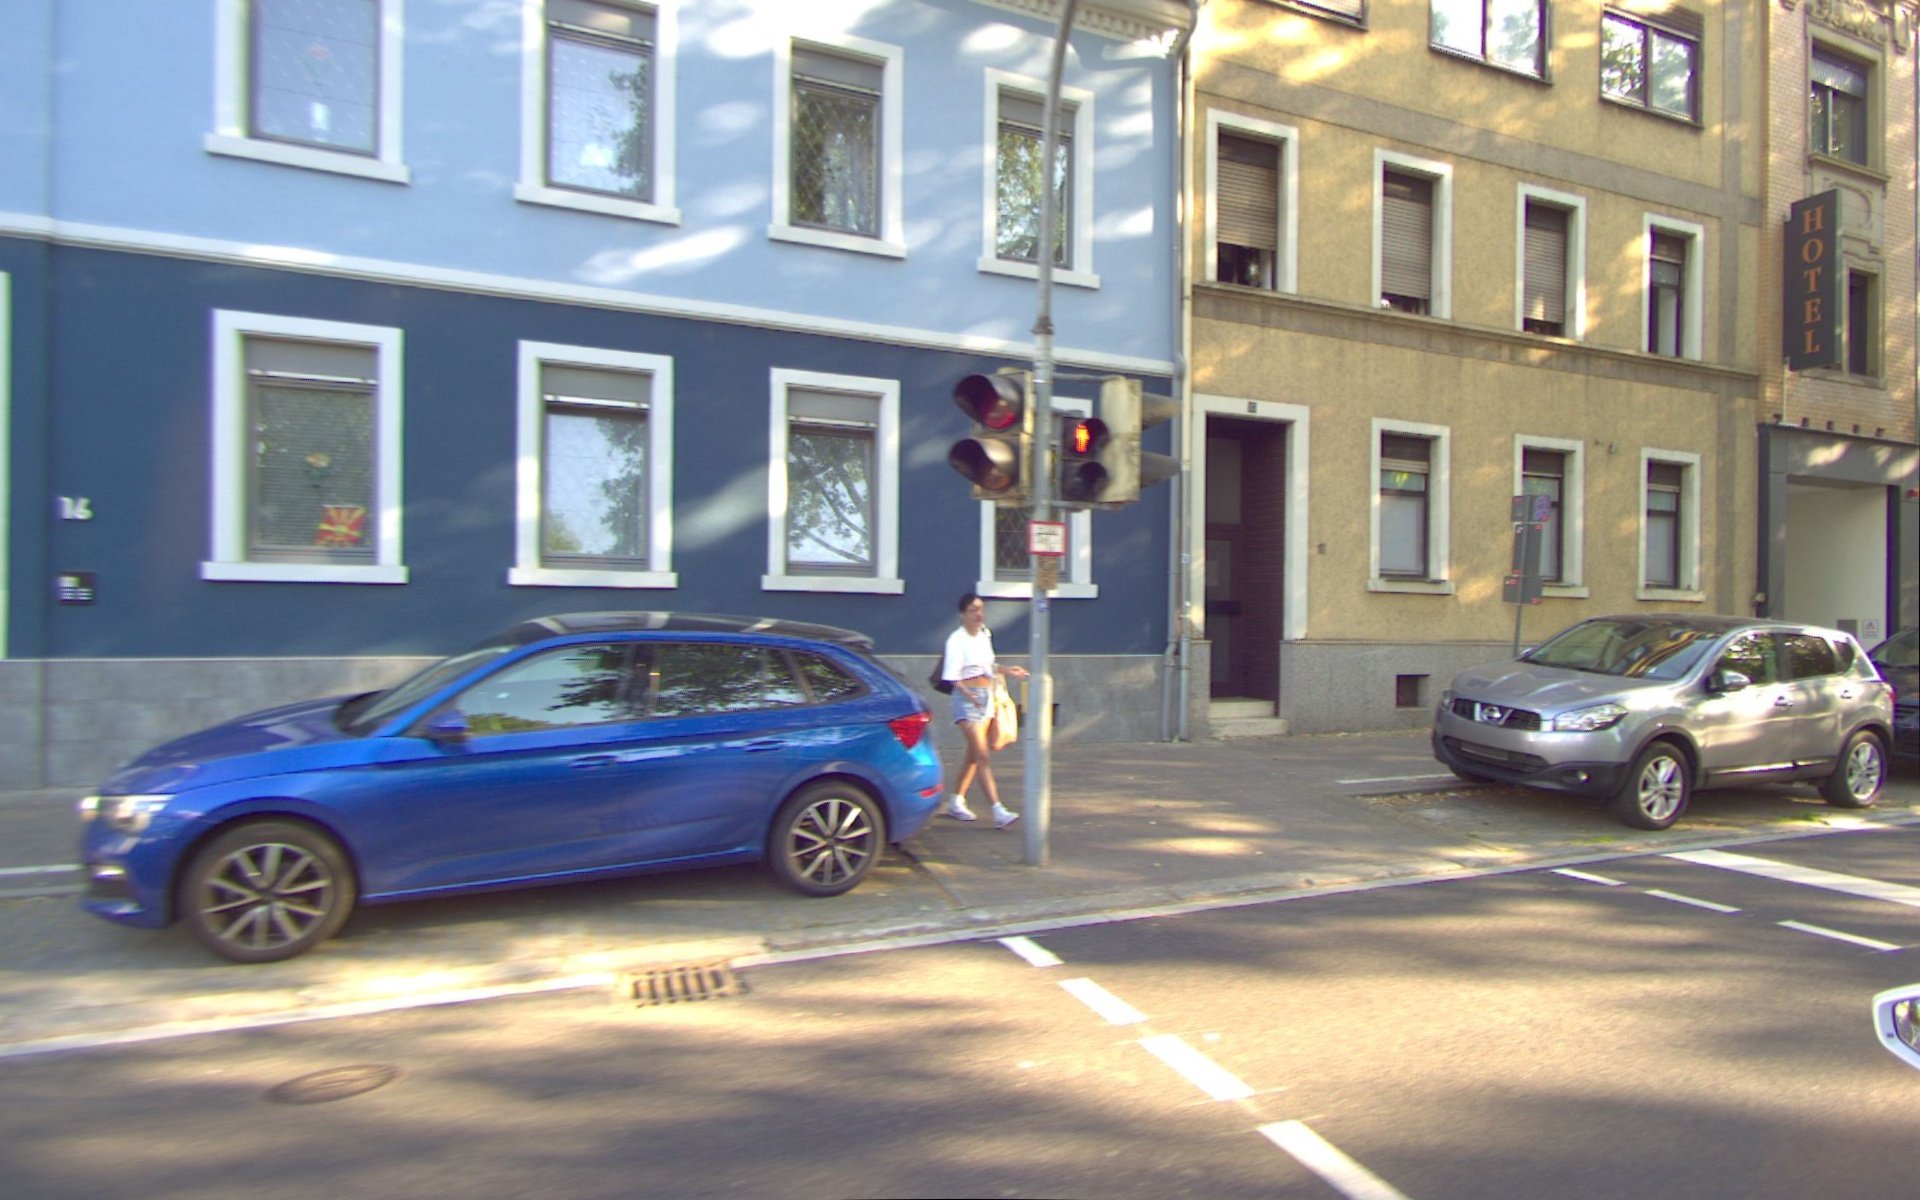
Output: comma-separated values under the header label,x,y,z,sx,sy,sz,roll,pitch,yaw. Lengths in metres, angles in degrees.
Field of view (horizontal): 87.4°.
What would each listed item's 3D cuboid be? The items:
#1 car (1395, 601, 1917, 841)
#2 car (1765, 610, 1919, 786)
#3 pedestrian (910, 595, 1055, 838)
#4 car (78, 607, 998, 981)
label,x,y,z,sx,sy,sz,roll,pitch,yaw
car,6.068,0.898,8.787,4.095,1.695,1.778,1,1,-22
car,10.647,0.965,10.608,3.648,1.626,1.676,1,1,-20
pedestrian,0.143,0.772,7.131,0.697,1.590,0.860,1,-1,-28
car,-2.033,0.838,5.755,4.202,1.506,1.646,1,1,-24
